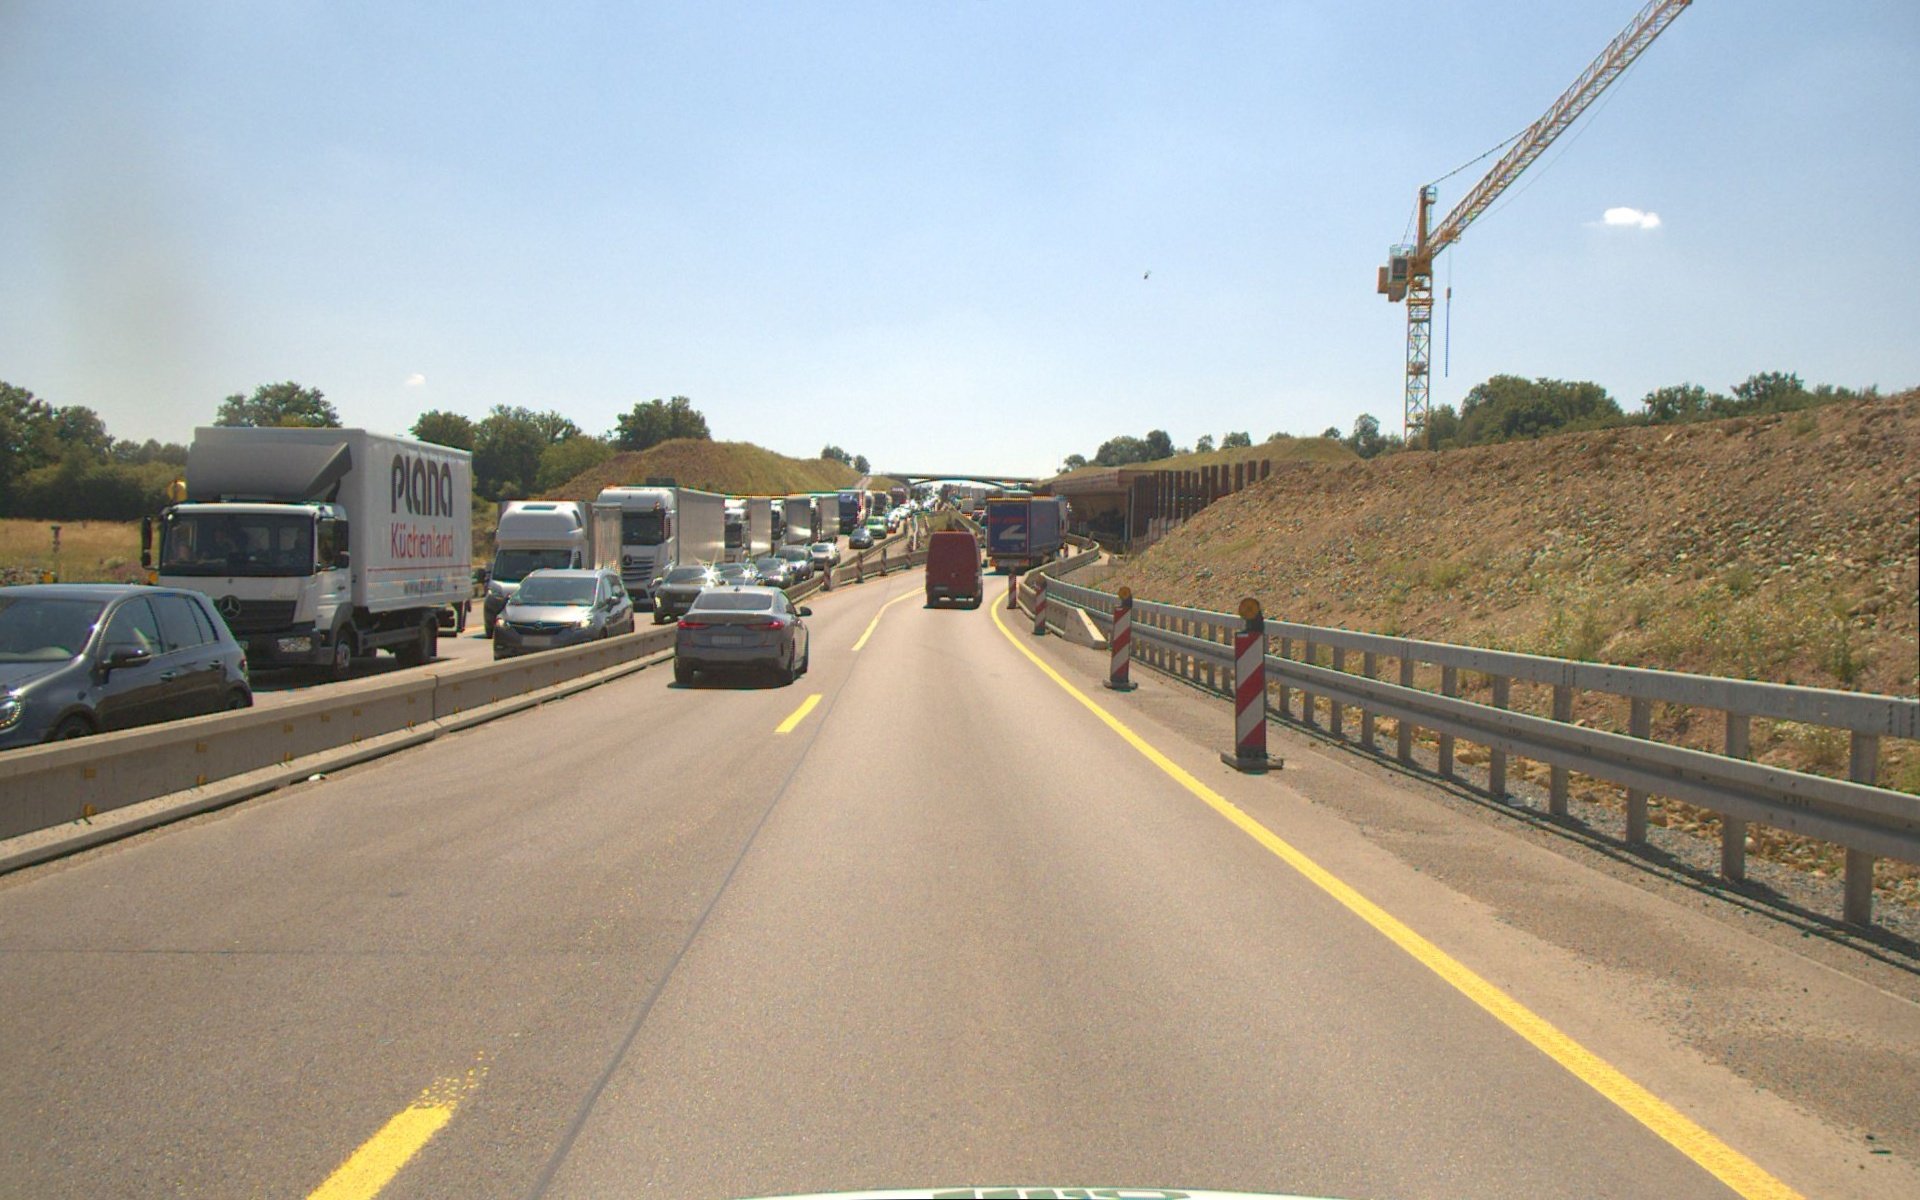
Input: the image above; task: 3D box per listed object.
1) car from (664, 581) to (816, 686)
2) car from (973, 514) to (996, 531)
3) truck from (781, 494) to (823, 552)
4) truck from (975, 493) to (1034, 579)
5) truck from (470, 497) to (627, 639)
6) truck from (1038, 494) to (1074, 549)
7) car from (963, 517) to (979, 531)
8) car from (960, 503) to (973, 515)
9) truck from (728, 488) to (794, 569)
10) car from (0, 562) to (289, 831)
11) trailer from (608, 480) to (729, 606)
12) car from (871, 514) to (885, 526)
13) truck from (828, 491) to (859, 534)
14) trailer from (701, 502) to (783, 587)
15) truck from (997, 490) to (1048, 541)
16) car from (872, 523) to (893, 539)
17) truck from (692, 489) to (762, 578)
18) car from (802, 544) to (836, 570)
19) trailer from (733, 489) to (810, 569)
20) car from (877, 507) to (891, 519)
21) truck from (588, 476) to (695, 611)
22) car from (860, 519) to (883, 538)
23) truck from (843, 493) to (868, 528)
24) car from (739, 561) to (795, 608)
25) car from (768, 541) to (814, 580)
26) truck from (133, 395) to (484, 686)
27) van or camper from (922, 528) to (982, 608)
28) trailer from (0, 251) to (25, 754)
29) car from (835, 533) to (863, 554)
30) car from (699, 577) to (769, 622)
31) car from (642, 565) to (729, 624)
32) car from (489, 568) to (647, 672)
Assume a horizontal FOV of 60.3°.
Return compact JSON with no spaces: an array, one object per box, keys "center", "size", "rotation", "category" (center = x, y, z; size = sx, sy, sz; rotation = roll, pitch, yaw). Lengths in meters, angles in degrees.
[{"center":[-3.343,0.473,25.972],"size":[1.814,1.477,4.741],"rotation":[1,0,-1],"category":"car"},{"center":[2.749,-8.673,185.795],"size":[2.240,1.556,4.360],"rotation":[-2,0,4],"category":"car"},{"center":[-11.246,-5.412,118.264],"size":[2.629,3.906,7.382],"rotation":[0,1,-3],"category":"truck"},{"center":[2.666,-3.656,96.521],"size":[2.957,4.774,6.937],"rotation":[-1,1,5],"category":"truck"},{"center":[-10.012,-0.821,40.911],"size":[2.385,3.203,7.021],"rotation":[0,1,-3],"category":"truck"},{"center":[7.951,-6.460,137.181],"size":[2.974,4.172,7.087],"rotation":[0,0,3],"category":"truck"},{"center":[1.376,-9.789,213.693],"size":[1.913,1.557,4.266],"rotation":[1,0,-1],"category":"car"},{"center":[0.956,-14.154,256.377],"size":[1.913,1.669,4.267],"rotation":[1,1,-1],"category":"car"},{"center":[-11.512,-4.103,95.957],"size":[2.989,4.558,5.981],"rotation":[1,2,1],"category":"truck"},{"center":[-6.664,0.549,11.863],"size":[1.953,1.584,4.338],"rotation":[1,0,-1],"category":"car"},{"center":[-10.888,-2.063,63.059],"size":[2.542,4.331,12.466],"rotation":[1,1,-1],"category":"trailer"},{"center":[-11.827,-11.445,237.633],"size":[1.913,1.556,4.266],"rotation":[1,1,-2],"category":"car"},{"center":[-11.412,-8.576,162.794],"size":[2.830,3.906,7.998],"rotation":[0,1,-3],"category":"truck"},{"center":[-11.056,-2.719,84.833],"size":[2.726,4.000,11.008],"rotation":[1,0,0],"category":"trailer"},{"center":[7.009,-9.198,182.377],"size":[5.052,5.084,13.884],"rotation":[-2,1,4],"category":"truck"},{"center":[-7.773,-6.923,166.151],"size":[1.913,1.556,4.267],"rotation":[1,1,-1],"category":"car"},{"center":[-10.947,-3.073,78.214],"size":[2.727,3.937,5.458],"rotation":[0,0,-3],"category":"truck"},{"center":[-8.219,-2.505,96.632],"size":[1.711,1.433,3.999],"rotation":[1,1,-1],"category":"car"},{"center":[-11.389,-4.217,101.290],"size":[2.979,4.631,12.130],"rotation":[1,1,1],"category":"trailer"},{"center":[-11.198,-12.856,244.259],"size":[1.913,1.556,4.266],"rotation":[1,1,-2],"category":"car"},{"center":[-10.781,-1.902,56.553],"size":[2.499,4.304,6.529],"rotation":[0,1,-1],"category":"truck"},{"center":[-7.959,-6.424,149.033],"size":[1.913,1.556,4.267],"rotation":[1,1,-1],"category":"car"},{"center":[-12.366,-10.594,196.447],"size":[2.830,3.906,7.998],"rotation":[0,1,-3],"category":"truck"},{"center":[-7.822,-0.645,67.465],"size":[1.953,1.814,3.999],"rotation":[1,1,-2],"category":"car"},{"center":[-8.008,-1.871,78.654],"size":[1.953,1.814,3.999],"rotation":[1,1,-2],"category":"car"},{"center":[-10.100,-0.861,26.813],"size":[2.474,3.923,8.668],"rotation":[1,1,-2],"category":"truck"},{"center":[-0.342,-1.169,60.879],"size":[1.988,2.792,4.513],"rotation":[1,1,-3],"category":"van or camper"},{"center":[-9.546,-0.816,7.430],"size":[2.925,4.282,13.943],"rotation":[1,0,-1],"category":"trailer"},{"center":[-8.614,-4.372,128.753],"size":[1.913,1.556,4.267],"rotation":[1,1,-1],"category":"car"},{"center":[-7.820,-0.057,57.597],"size":[1.864,1.400,4.546],"rotation":[-2,1,-1],"category":"car"},{"center":[-7.698,-0.166,46.720],"size":[1.790,1.562,4.545],"rotation":[1,0,-1],"category":"car"},{"center":[-6.838,0.321,29.293],"size":[1.790,1.680,4.545],"rotation":[1,0,-1],"category":"car"}]
